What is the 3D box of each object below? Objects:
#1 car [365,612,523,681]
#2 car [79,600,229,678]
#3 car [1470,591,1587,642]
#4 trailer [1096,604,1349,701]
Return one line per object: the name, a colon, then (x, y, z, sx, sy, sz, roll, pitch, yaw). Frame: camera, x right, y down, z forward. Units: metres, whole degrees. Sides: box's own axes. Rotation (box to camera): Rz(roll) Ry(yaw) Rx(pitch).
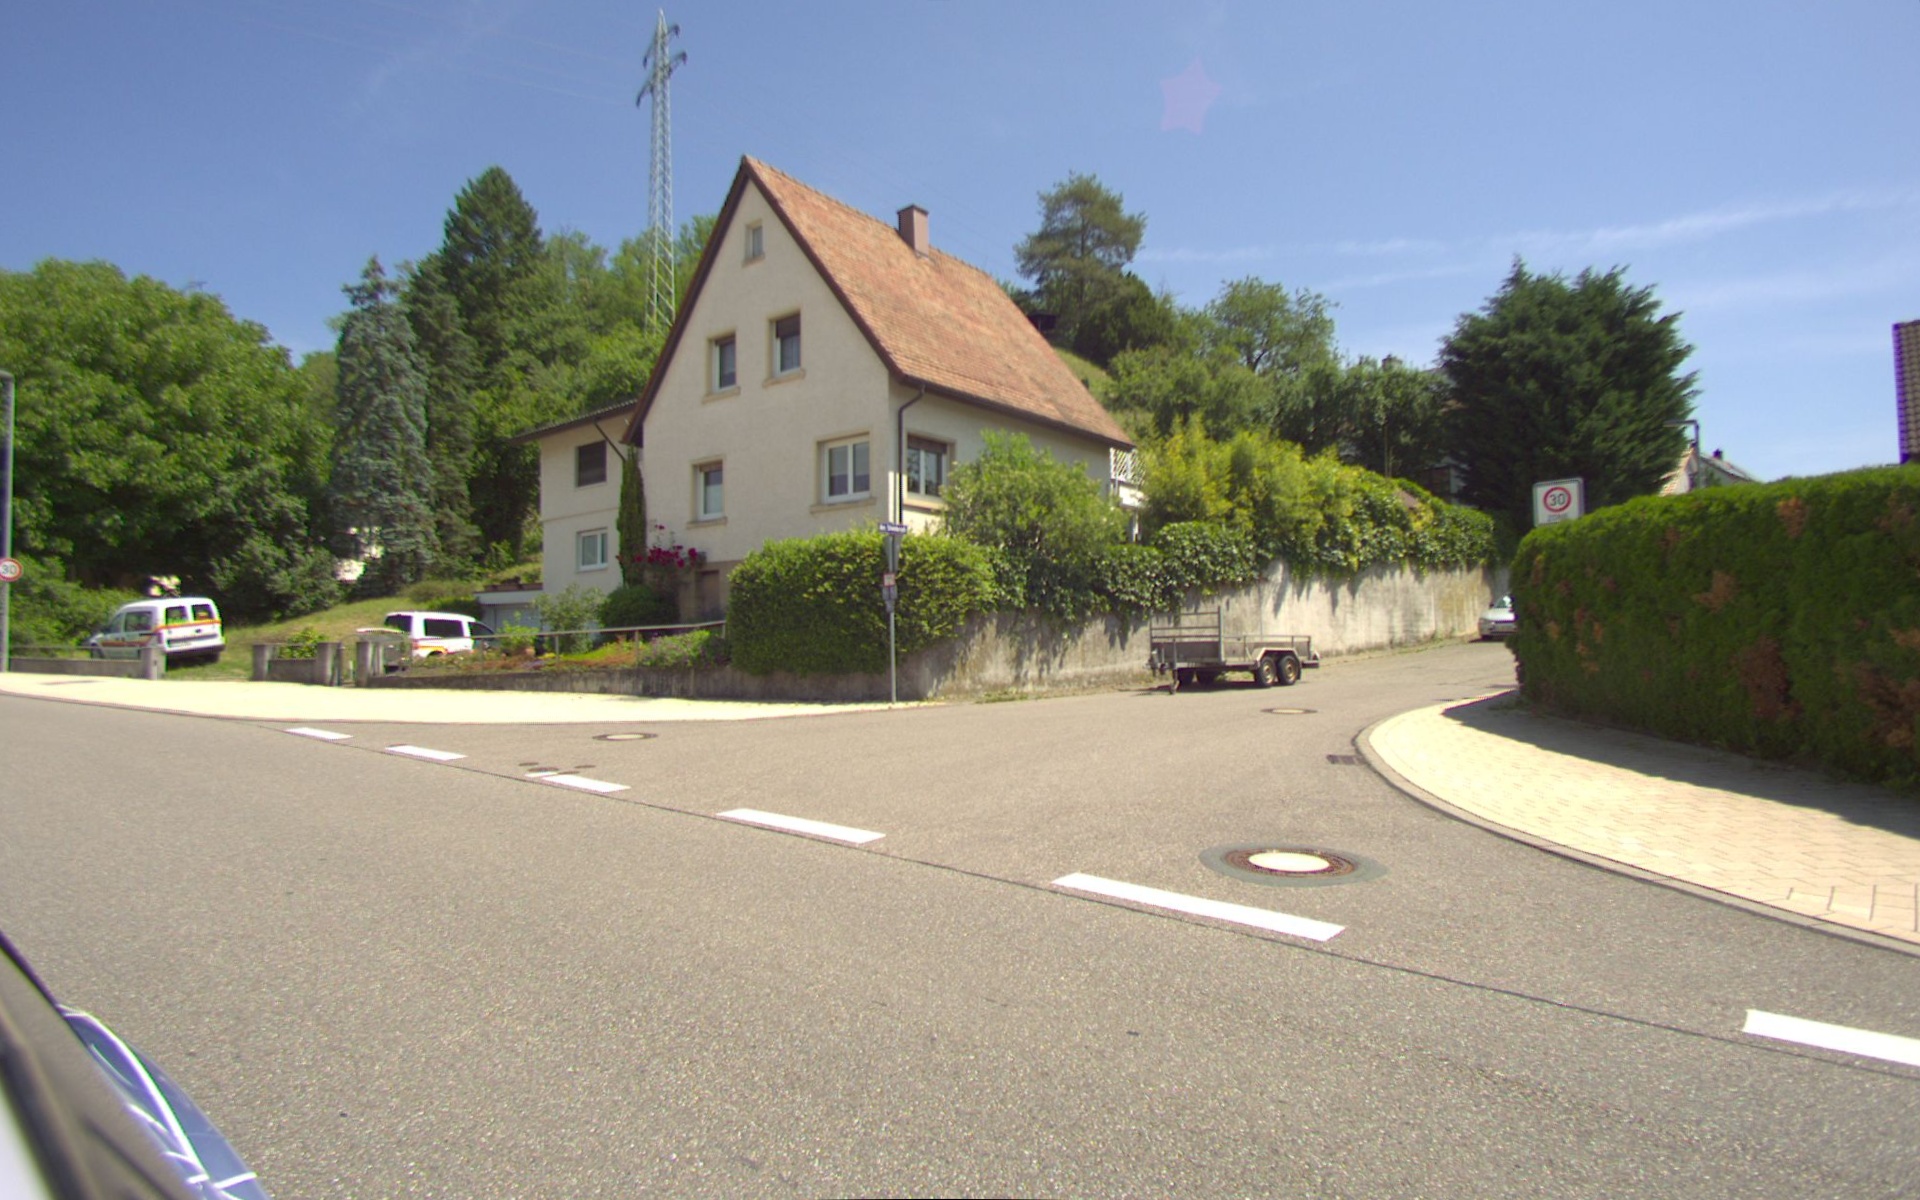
car: (-15.166, 1.404, 29.977, 1.799, 1.803, 3.968, -5, -5, 23)
car: (-21.677, 1.044, 27.208, 3.981, 1.964, 1.689, -1, -2, 28)
car: (15.990, 0.445, 28.402, 3.722, 1.200, 1.750, -4, 1, -42)
trailer: (4.985, 0.891, 18.832, 4.999, 1.517, 2.003, 0, -2, -40)
